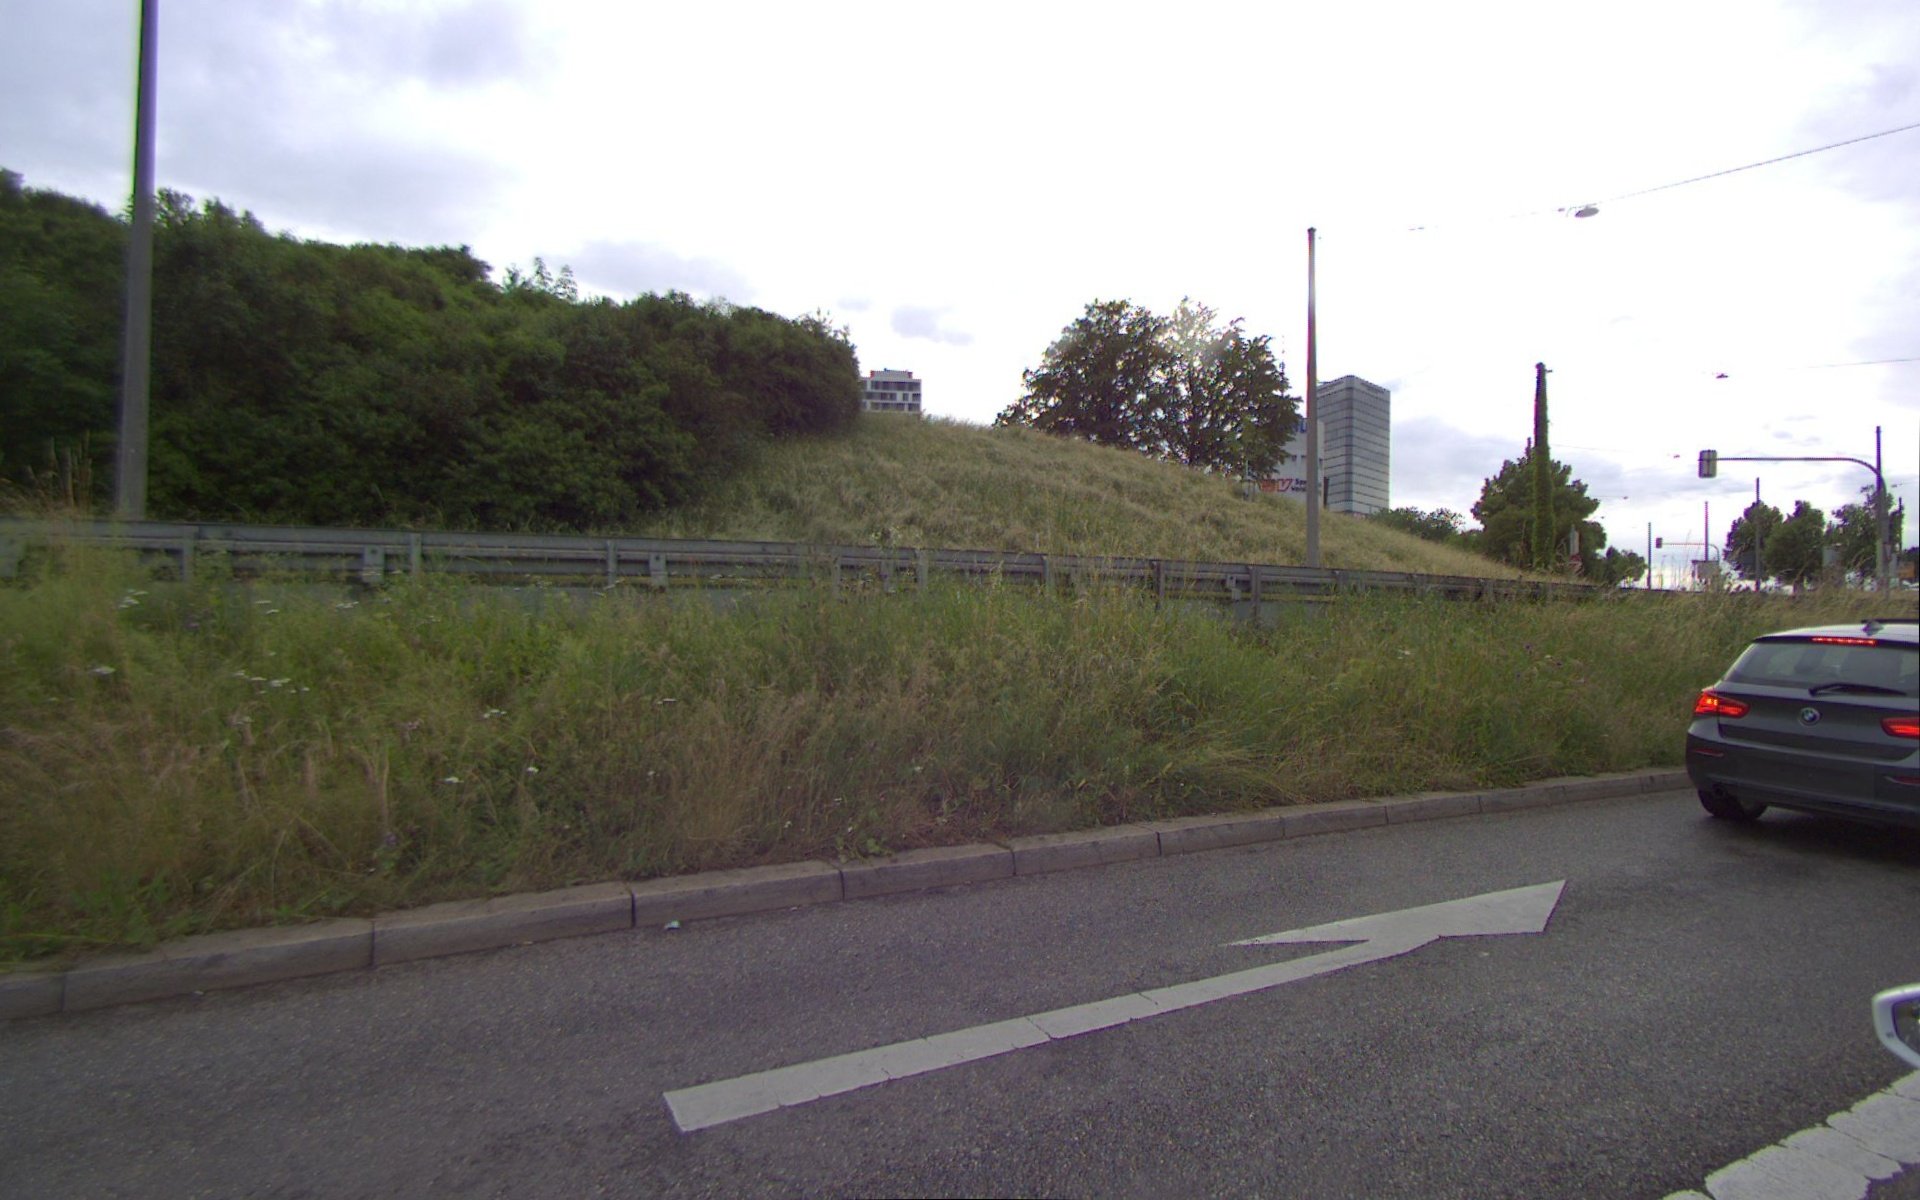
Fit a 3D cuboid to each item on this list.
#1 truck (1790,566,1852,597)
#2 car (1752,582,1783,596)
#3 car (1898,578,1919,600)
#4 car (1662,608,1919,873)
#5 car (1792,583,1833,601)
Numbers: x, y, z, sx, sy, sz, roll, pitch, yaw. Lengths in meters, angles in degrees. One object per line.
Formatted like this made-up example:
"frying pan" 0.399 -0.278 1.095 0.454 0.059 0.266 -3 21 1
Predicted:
"truck" 92.954 -2.021 108.610 3.206 3.116 6.171 4 3 23
"car" 101.176 -1.371 125.916 1.962 1.682 4.540 2 1 25
"car" 80.850 -0.897 84.174 1.962 1.681 4.541 2 -1 25
"car" 6.998 0.867 7.053 4.062 1.479 1.696 2 -1 -27
"car" 86.126 -0.806 101.521 1.962 1.681 4.350 2 -1 25
